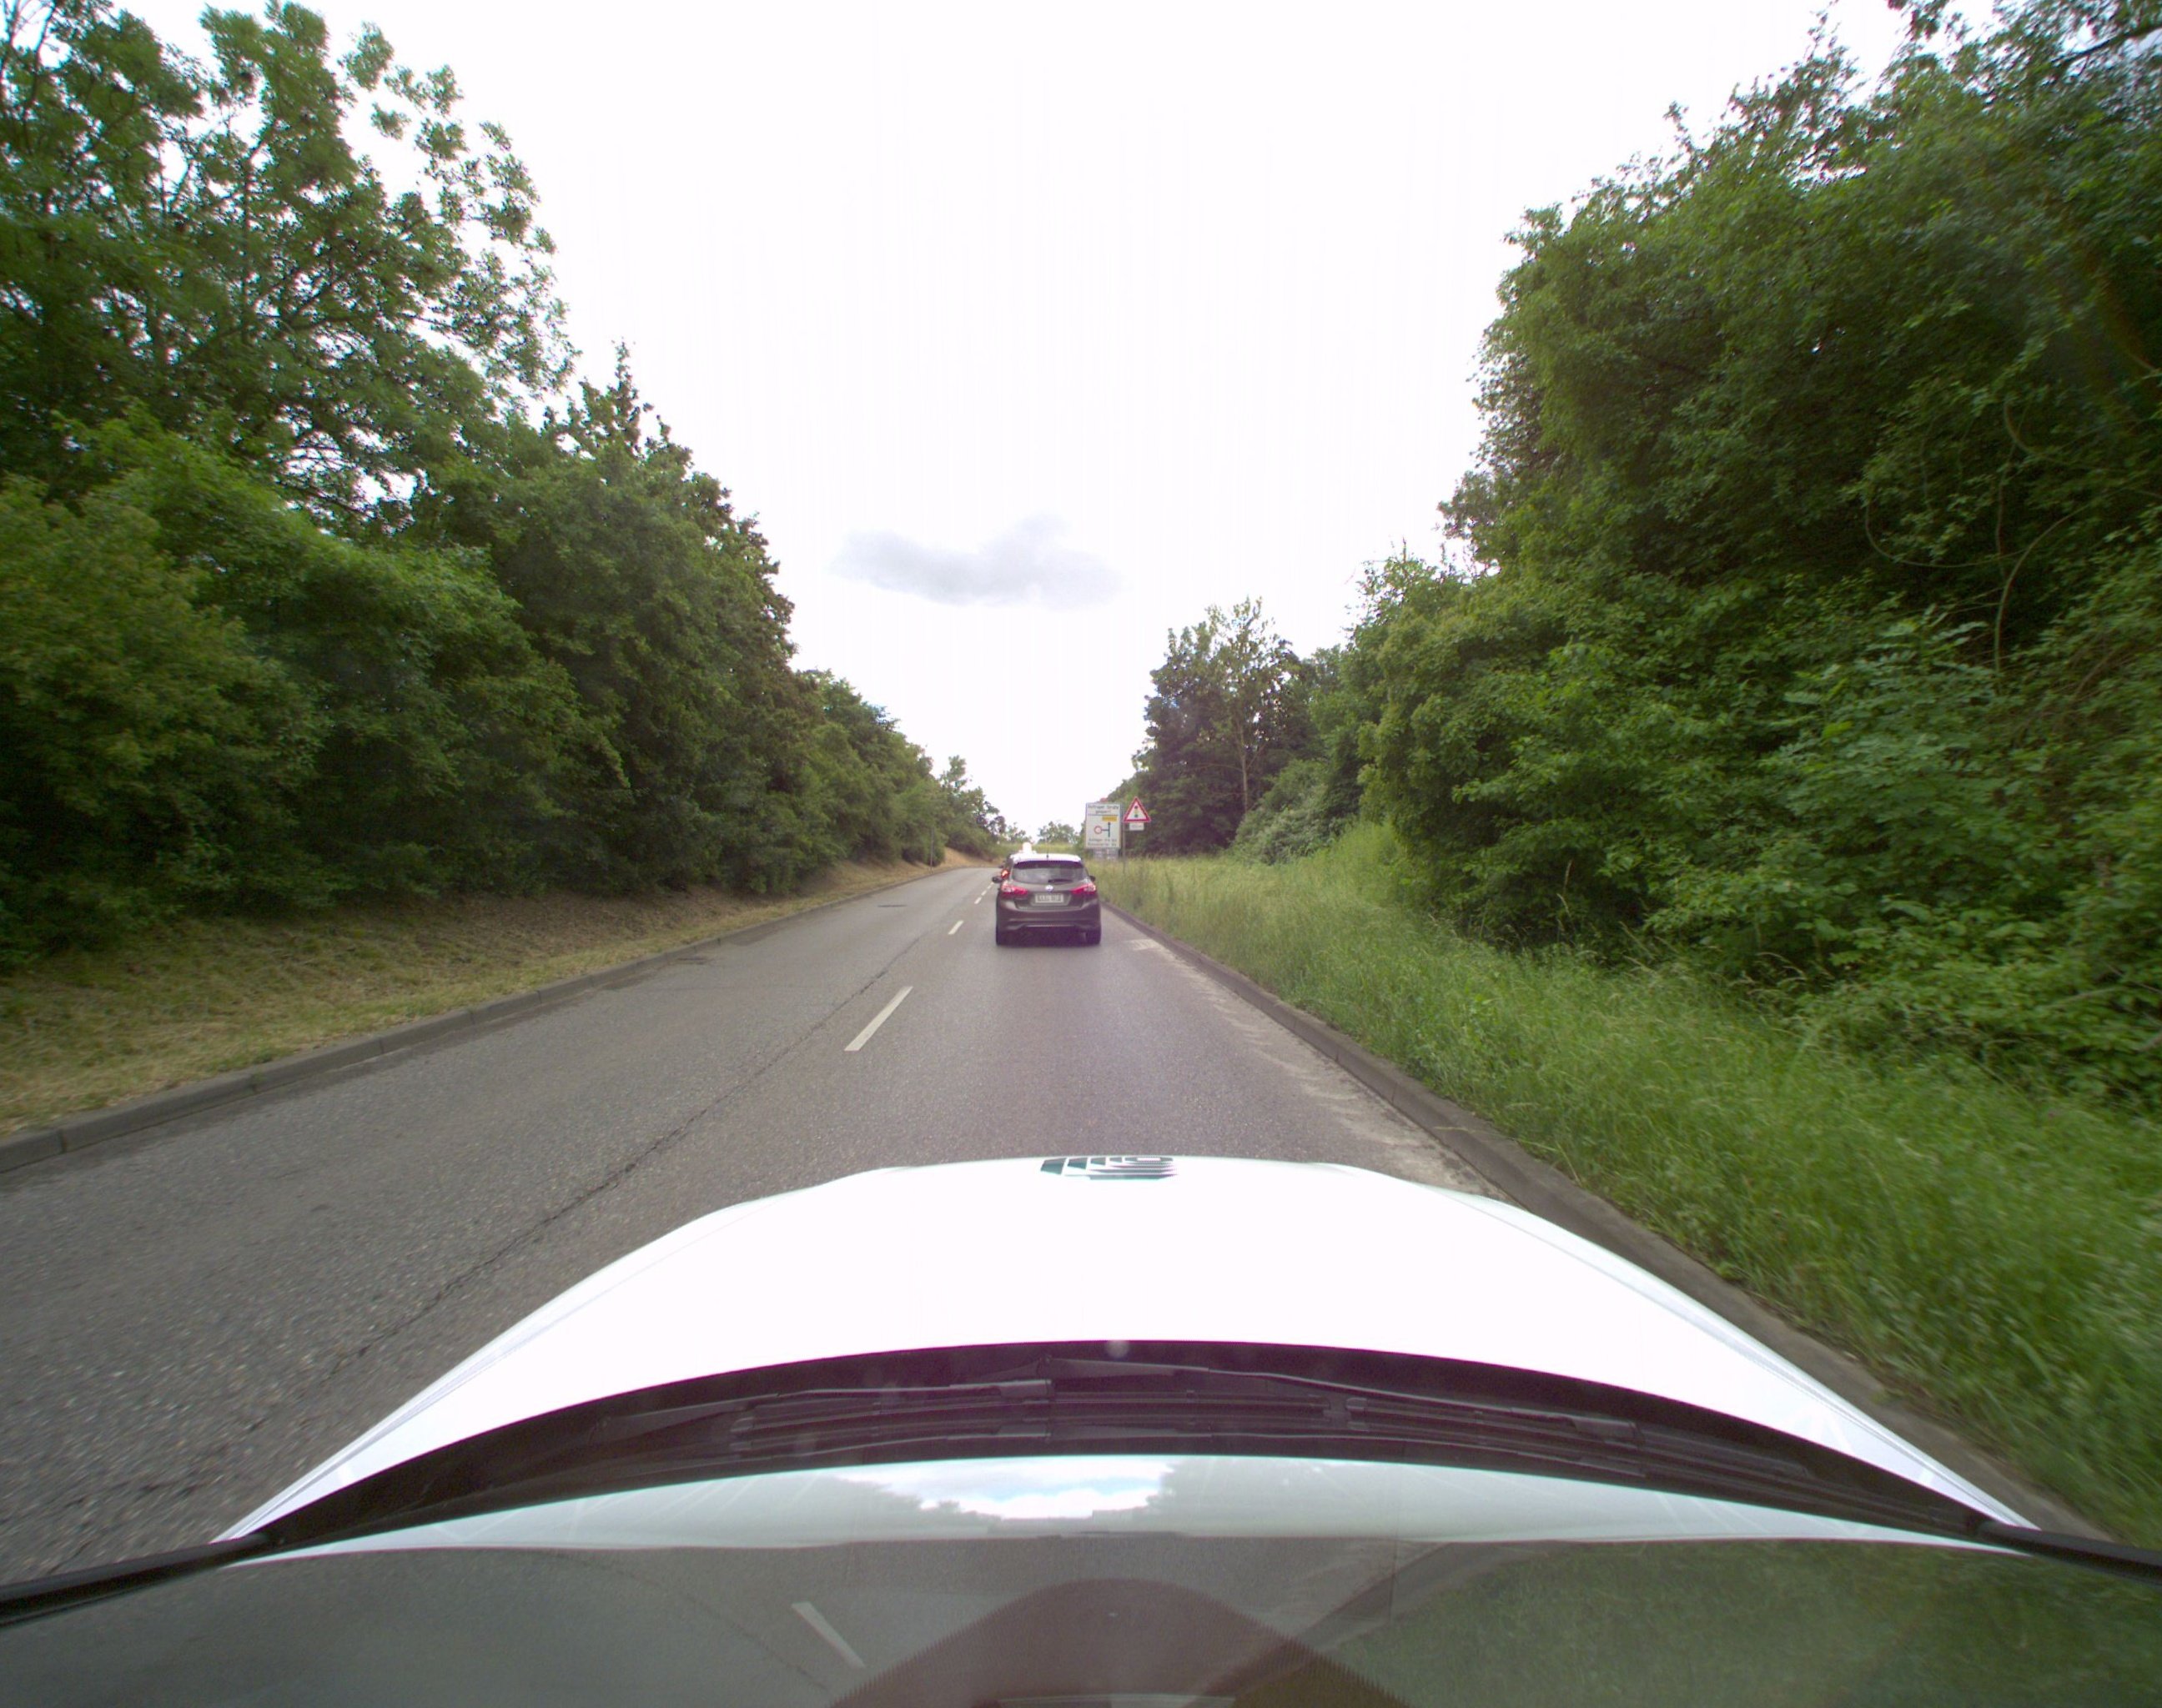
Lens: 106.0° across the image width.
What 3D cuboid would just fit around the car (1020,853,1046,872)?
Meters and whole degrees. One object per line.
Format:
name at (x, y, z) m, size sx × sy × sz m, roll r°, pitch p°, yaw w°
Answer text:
car at (-4.001, 0.711, 68.102) m, size 1.729 × 1.526 × 3.644 m, roll -1°, pitch 0°, yaw 3°

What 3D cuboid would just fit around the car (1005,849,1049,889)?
car at (-2.247, 0.591, 34.323) m, size 1.732 × 1.556 × 3.539 m, roll -1°, pitch 0°, yaw -4°

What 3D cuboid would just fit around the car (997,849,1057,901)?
car at (-1.771, 0.639, 27.029) m, size 1.826 × 1.556 × 3.620 m, roll -1°, pitch 0°, yaw -4°

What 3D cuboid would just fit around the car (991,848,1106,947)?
car at (-0.628, 0.688, 14.809) m, size 1.827 × 1.556 × 3.494 m, roll -1°, pitch 0°, yaw -4°

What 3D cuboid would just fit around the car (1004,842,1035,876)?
car at (-3.669, 0.266, 48.758) m, size 1.732 × 1.935 × 3.539 m, roll -1°, pitch 0°, yaw -4°

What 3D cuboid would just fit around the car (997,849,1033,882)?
car at (-3.334, 0.540, 41.573) m, size 1.732 × 1.556 × 3.539 m, roll -1°, pitch 0°, yaw -4°
